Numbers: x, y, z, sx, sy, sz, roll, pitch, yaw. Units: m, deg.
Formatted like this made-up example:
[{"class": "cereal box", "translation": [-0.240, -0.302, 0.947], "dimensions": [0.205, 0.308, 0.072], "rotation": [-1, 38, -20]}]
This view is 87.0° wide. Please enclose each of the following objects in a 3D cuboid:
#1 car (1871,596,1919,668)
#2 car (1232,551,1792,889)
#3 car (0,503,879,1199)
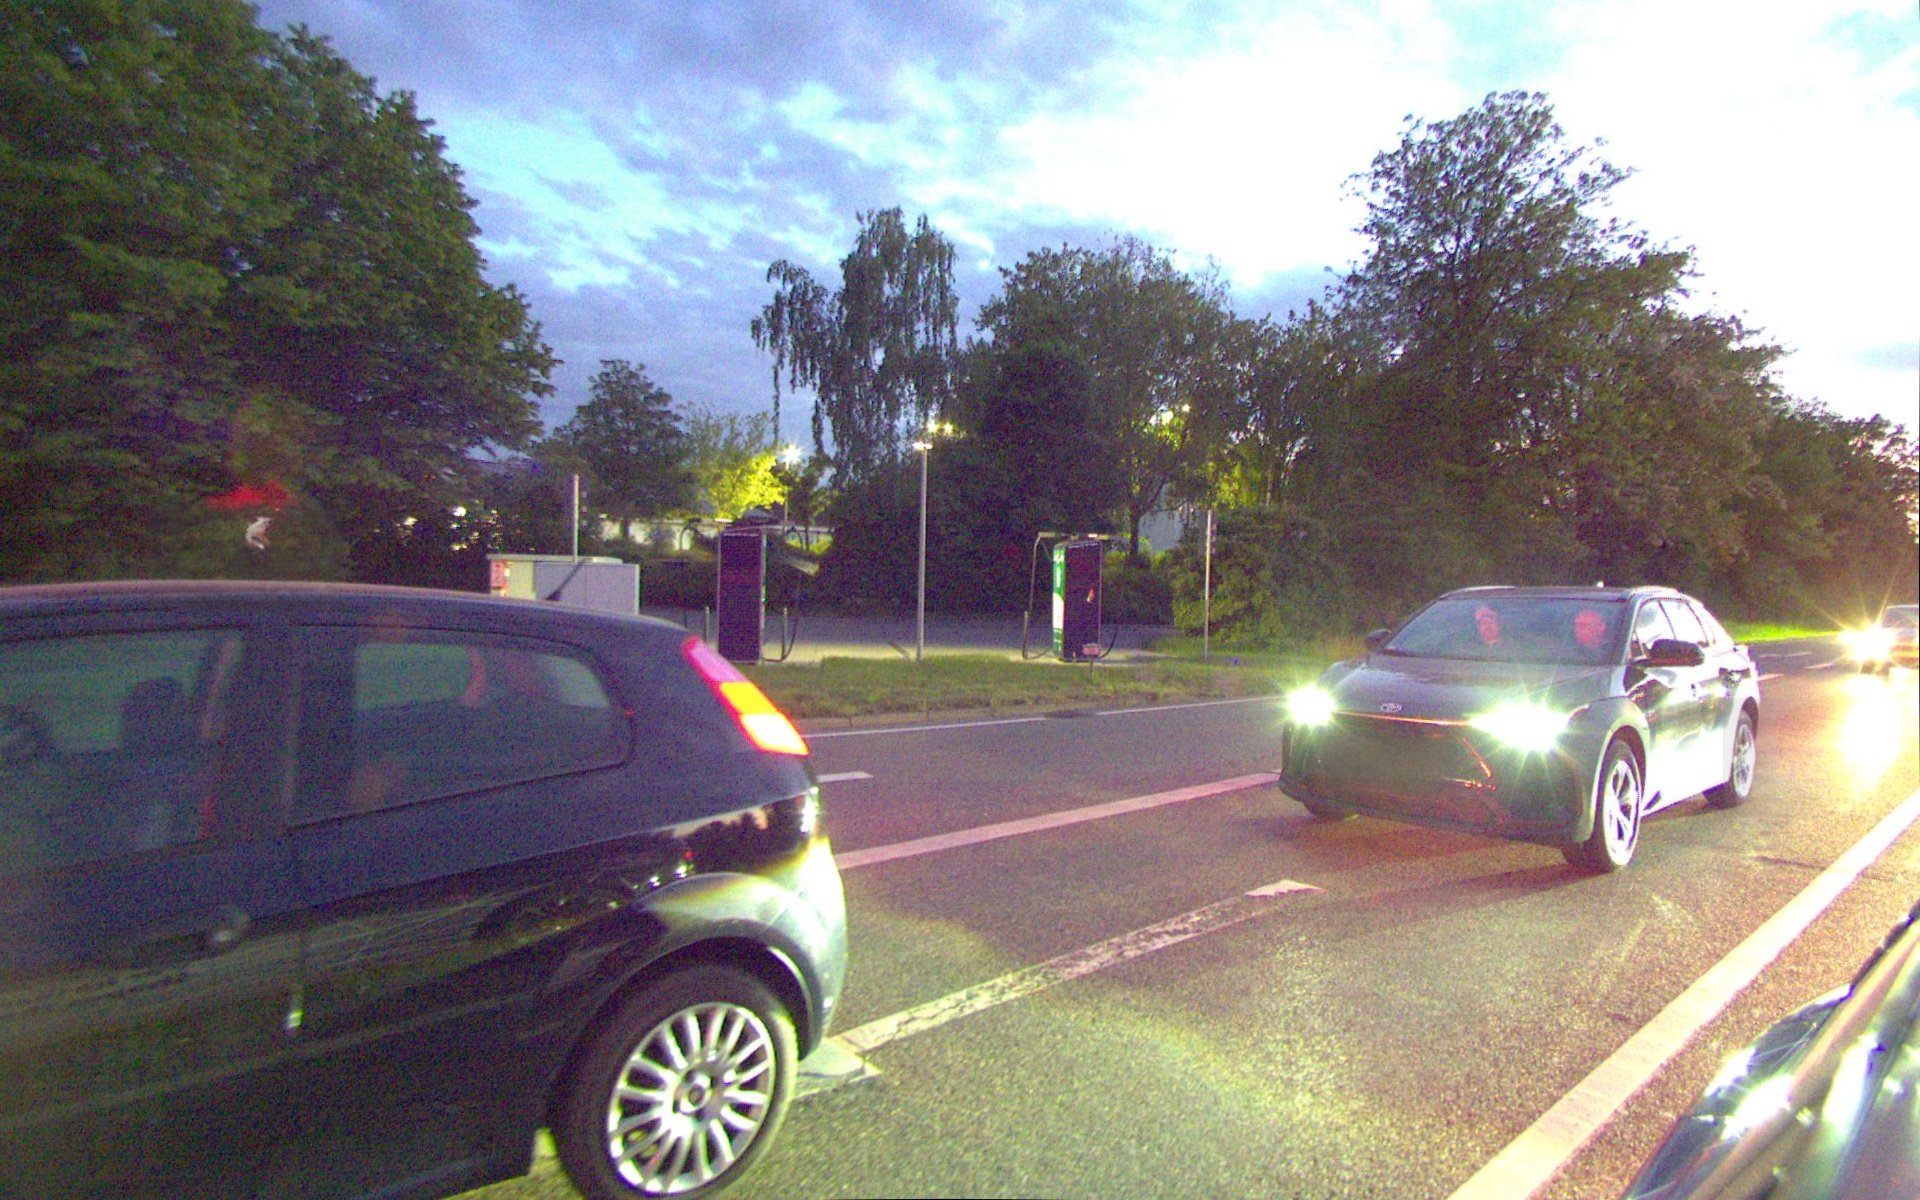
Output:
[{"class": "car", "translation": [21.325, 0.662, 22.133], "dimensions": [3.803, 1.487, 1.622], "rotation": [0, 0, -41]}, {"class": "car", "translation": [4.116, 0.569, 7.163], "dimensions": [4.629, 1.630, 1.997], "rotation": [0, 0, -41]}, {"class": "car", "translation": [-2.290, 0.609, 1.951], "dimensions": [4.032, 1.540, 1.674], "rotation": [0, 1, -39]}]
